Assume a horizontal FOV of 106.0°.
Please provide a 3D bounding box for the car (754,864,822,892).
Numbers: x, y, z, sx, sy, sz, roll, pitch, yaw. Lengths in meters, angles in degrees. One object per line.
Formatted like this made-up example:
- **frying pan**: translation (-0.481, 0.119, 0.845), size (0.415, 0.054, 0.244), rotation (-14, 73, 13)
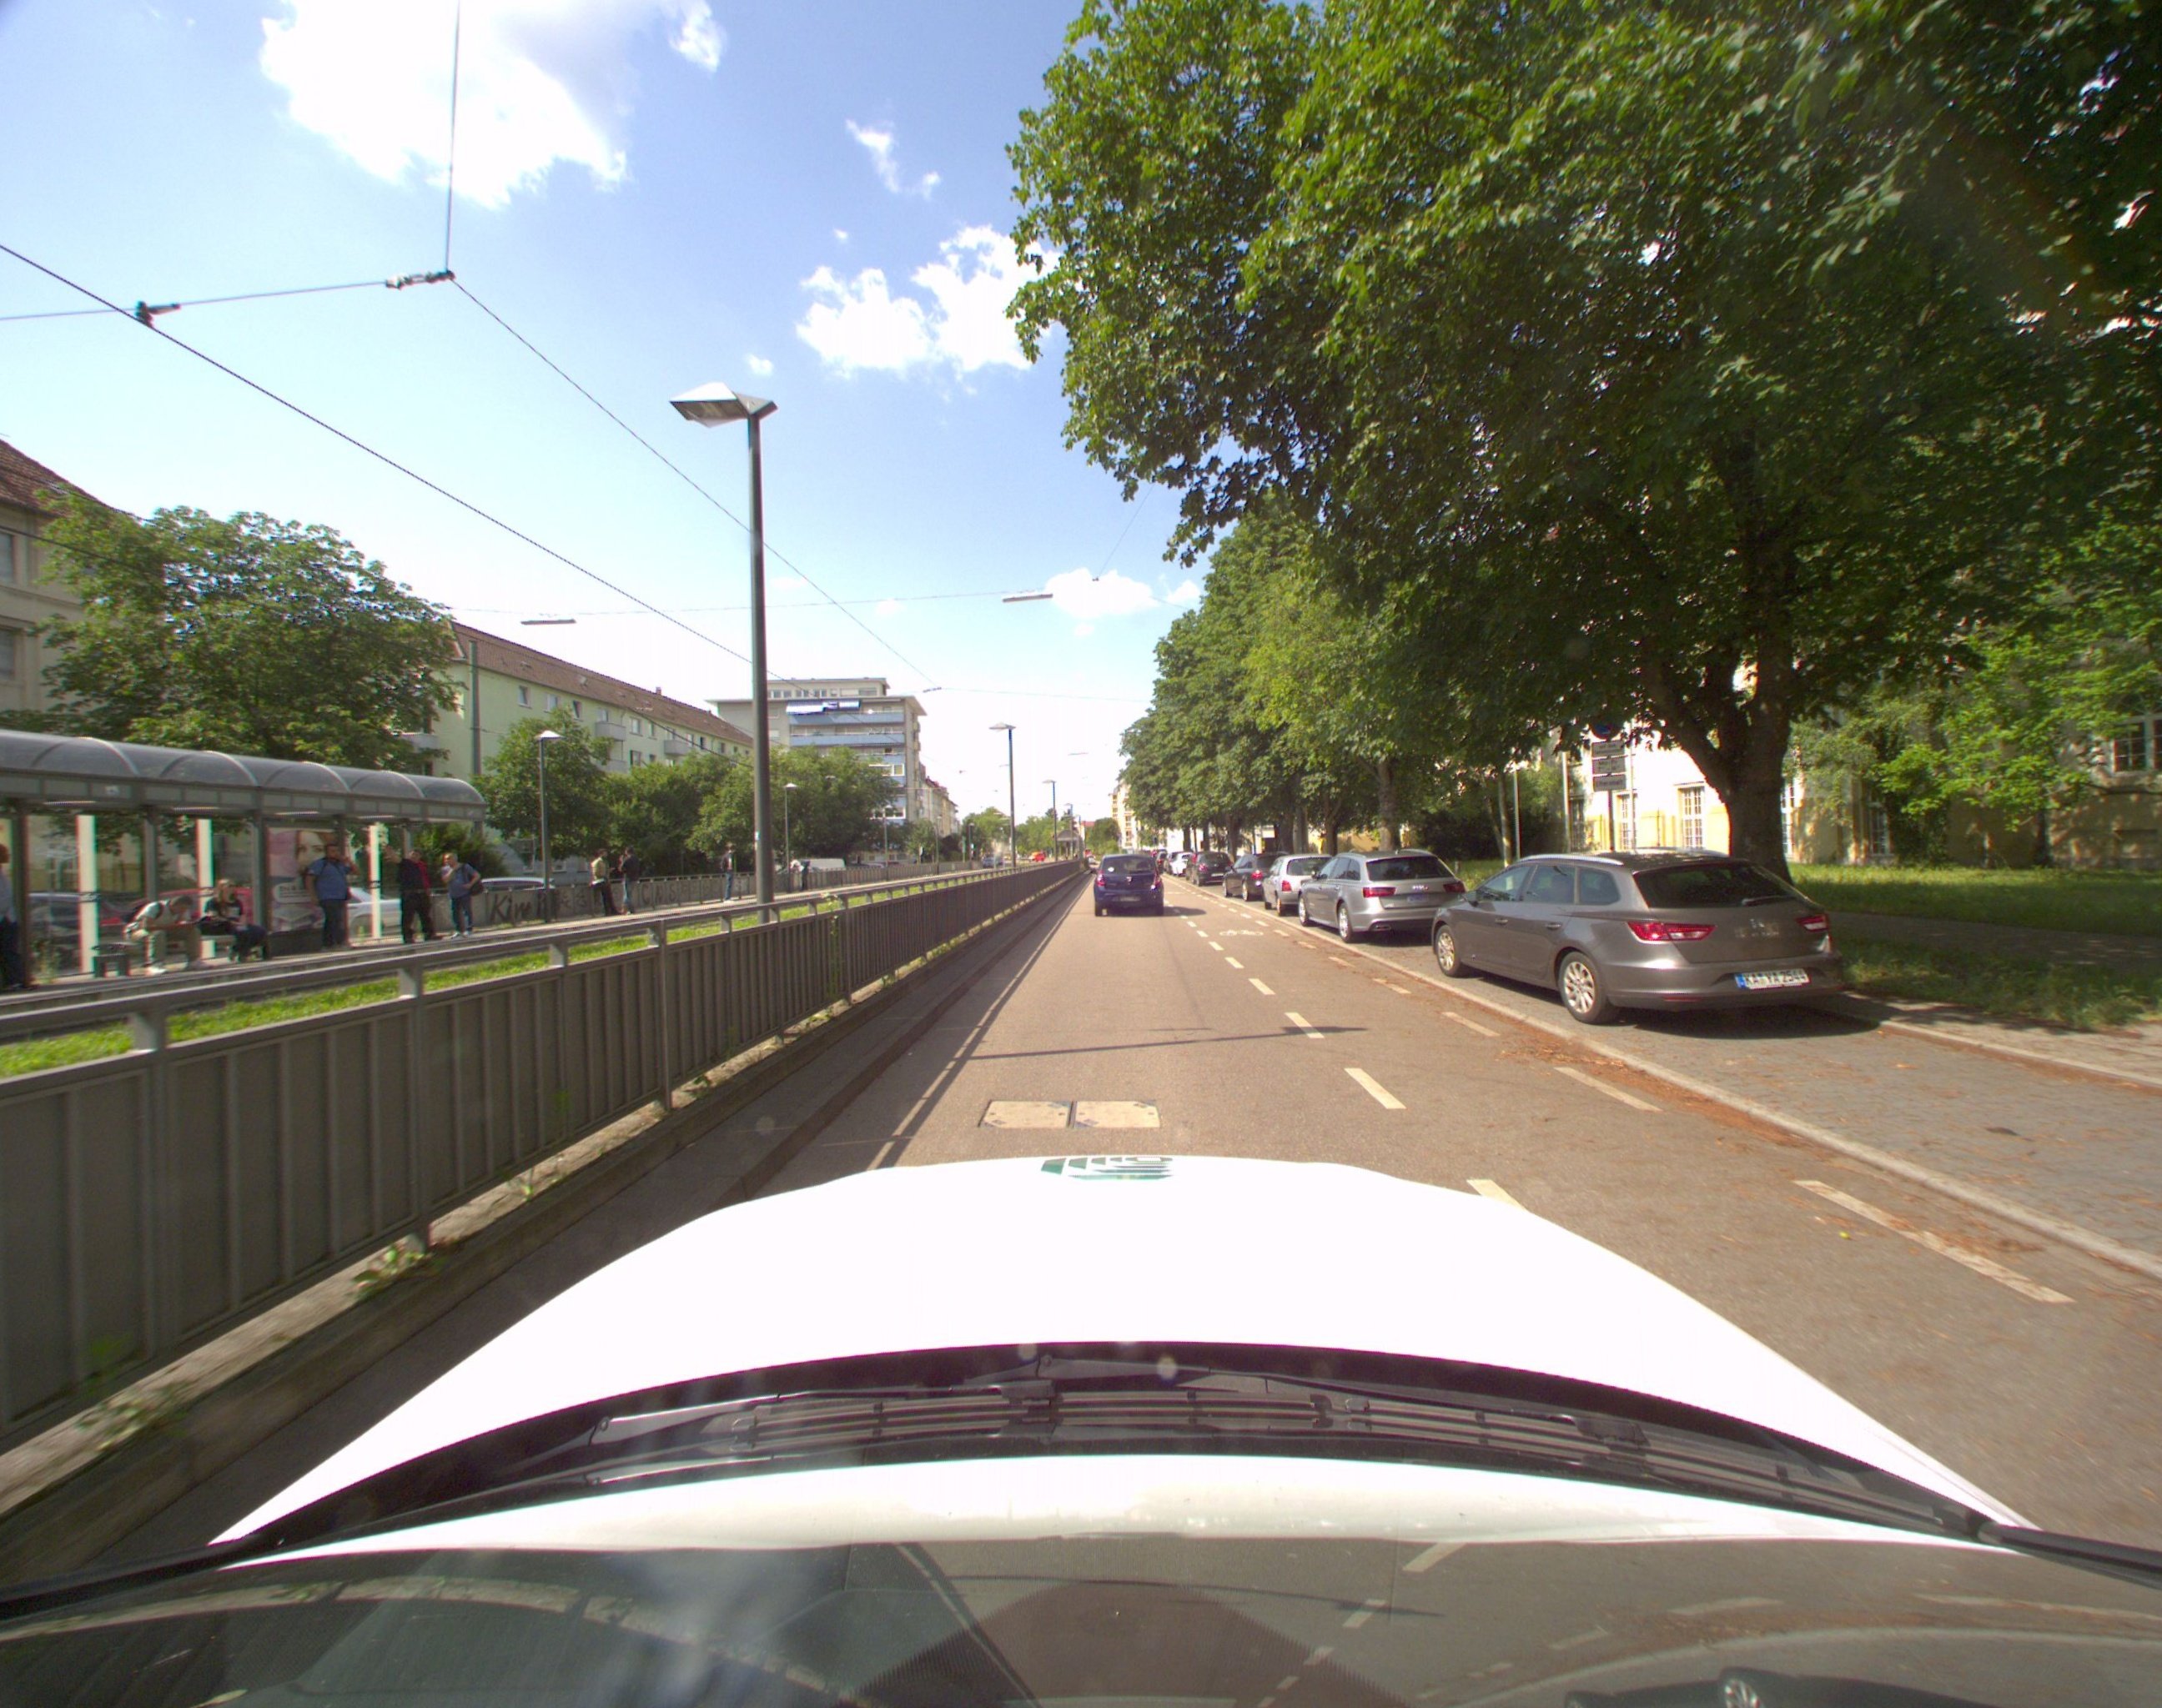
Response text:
- **car**: translation (-19.875, 1.602, 55.305), size (4.017, 1.639, 1.808), rotation (-2, 1, -35)

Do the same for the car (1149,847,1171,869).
- **car**: translation (7.386, 0.376, 76.796), size (1.815, 1.896, 4.188), rotation (-3, 0, 4)

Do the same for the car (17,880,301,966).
- **car**: translation (-21.589, 1.550, 19.377), size (4.156, 1.640, 1.814), rotation (-2, -1, -38)

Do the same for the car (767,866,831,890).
- **car**: translation (-20.051, 1.703, 58.006), size (4.014, 1.485, 1.593), rotation (-2, 0, -32)

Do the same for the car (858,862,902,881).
- **car**: translation (-19.179, 1.655, 77.707), size (3.677, 1.579, 1.633), rotation (-2, 0, -29)

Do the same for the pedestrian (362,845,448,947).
- **pedestrian**: translation (-12.032, 0.726, 14.525), size (0.630, 1.743, 1.036), rotation (-2, -1, -1)

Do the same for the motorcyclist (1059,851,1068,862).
- **motorcyclist**: translation (-2.178, 0.372, 102.794), size (0.982, 1.339, 0.939), rotation (-3, 0, -8)

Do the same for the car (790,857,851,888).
- **car**: translation (-19.517, 1.353, 61.013), size (3.963, 2.070, 2.030), rotation (-2, 0, -30)

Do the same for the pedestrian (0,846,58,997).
- **pedestrian**: translation (-12.617, 0.778, 9.533), size (0.485, 1.726, 0.623), rotation (-1, -1, -1)

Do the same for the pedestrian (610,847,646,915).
- **pedestrian**: translation (-11.900, 0.701, 21.387), size (0.601, 1.754, 0.629), rotation (-3, -1, 42)

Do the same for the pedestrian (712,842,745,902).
- **pedestrian**: translation (-11.298, 0.576, 26.119), size (0.747, 1.892, 0.639), rotation (-2, -3, 4)

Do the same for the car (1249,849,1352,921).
- **car**: translation (5.250, 0.676, 19.957), size (1.628, 1.431, 4.020), rotation (-5, 0, 4)

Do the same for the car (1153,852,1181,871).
- **car**: translation (7.486, 0.606, 71.431), size (1.911, 1.442, 4.797), rotation (-4, 0, 1)

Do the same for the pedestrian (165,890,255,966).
- **pedestrian**: translation (-12.801, 1.079, 11.983), size (0.652, 1.031, 0.562), rotation (-3, -1, -1)

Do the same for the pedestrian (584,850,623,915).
- **pedestrian**: translation (-12.575, 0.737, 21.437), size (0.604, 1.674, 0.625), rotation (-2, -1, 2)

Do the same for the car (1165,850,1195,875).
- **car**: translation (6.882, 0.543, 57.022), size (1.718, 1.583, 4.680), rotation (-3, 0, 3)

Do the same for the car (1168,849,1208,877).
- **car**: translation (6.730, 0.559, 51.421), size (1.829, 1.523, 4.252), rotation (-4, 0, 0)

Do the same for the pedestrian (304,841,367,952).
- **pedestrian**: translation (-12.607, 0.701, 13.780), size (0.441, 1.827, 0.623), rotation (-2, -1, -1)

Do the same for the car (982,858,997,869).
- **car**: translation (-14.189, 1.535, 126.982), size (1.988, 1.645, 3.997), rotation (0, -1, -2)

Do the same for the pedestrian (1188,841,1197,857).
- **pedestrian**: translation (12.235, -0.523, 89.382), size (0.741, 1.696, 0.767), rotation (-3, 0, 2)

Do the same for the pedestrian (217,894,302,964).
- **pedestrian**: translation (-12.744, 1.146, 12.648), size (0.702, 0.995, 0.562), rotation (-3, -1, -1)

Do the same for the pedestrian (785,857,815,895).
- **pedestrian**: translation (-12.082, 0.937, 35.061), size (0.985, 1.578, 0.798), rotation (-2, -1, -1)

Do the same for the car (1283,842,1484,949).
- **car**: translation (5.167, 0.605, 14.746), size (1.822, 1.441, 5.052), rotation (-5, 0, 2)

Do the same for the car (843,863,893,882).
- **car**: translation (-18.952, 1.662, 72.613), size (4.038, 1.514, 1.595), rotation (-2, 0, -28)

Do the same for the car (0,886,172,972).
- **car**: translation (-21.656, 1.541, 16.482), size (4.014, 1.568, 1.593), rotation (-2, 0, -32)

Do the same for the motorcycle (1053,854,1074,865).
- **motorcycle**: translation (-2.174, 0.698, 102.798), size (2.506, 1.339, 1.015), rotation (-3, 0, -7)

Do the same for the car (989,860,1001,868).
- **car**: translation (-15.096, 1.726, 142.950), size (1.764, 1.442, 3.994), rotation (0, -1, -4)

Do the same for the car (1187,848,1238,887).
- **car**: translation (5.978, 0.573, 37.494), size (1.684, 1.561, 4.309), rotation (-5, 0, 2)

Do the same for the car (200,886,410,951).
- **car**: translation (-21.272, 1.713, 22.597), size (4.043, 1.391, 1.795), rotation (-2, 1, -39)

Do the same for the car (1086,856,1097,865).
- **car**: translation (1.624, 1.045, 126.913), size (1.618, 1.465, 3.507), rotation (0, -1, -2)

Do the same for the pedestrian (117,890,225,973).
- **pedestrian**: translation (-12.427, 1.042, 11.142), size (0.717, 1.031, 0.623), rotation (-3, -1, -1)

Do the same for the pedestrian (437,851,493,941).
- **pedestrian**: translation (-11.561, 0.771, 15.299), size (0.597, 1.632, 0.556), rotation (-2, 0, -12)

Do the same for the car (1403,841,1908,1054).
- **car**: translation (5.140, 0.676, 8.312), size (1.823, 1.400, 4.657), rotation (-5, 0, 1)

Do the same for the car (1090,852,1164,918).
- **car**: translation (1.142, 0.729, 21.160), size (1.737, 1.507, 4.002), rotation (0, 1, 1)

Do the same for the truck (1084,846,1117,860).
- **truck**: translation (5.176, -0.274, 214.376), size (8.347, 3.185, 2.598), rotation (-5, 0, -7)

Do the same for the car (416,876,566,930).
- **car**: translation (-20.976, 1.695, 29.042), size (4.174, 1.565, 1.904), rotation (-2, -1, -39)

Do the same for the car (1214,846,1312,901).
- **car**: translation (5.640, 0.613, 25.896), size (1.826, 1.467, 4.828), rotation (-4, -1, -2)

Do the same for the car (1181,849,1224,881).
- **car**: translation (6.320, 0.571, 42.686), size (1.551, 1.461, 3.557), rotation (-6, -1, -1)
